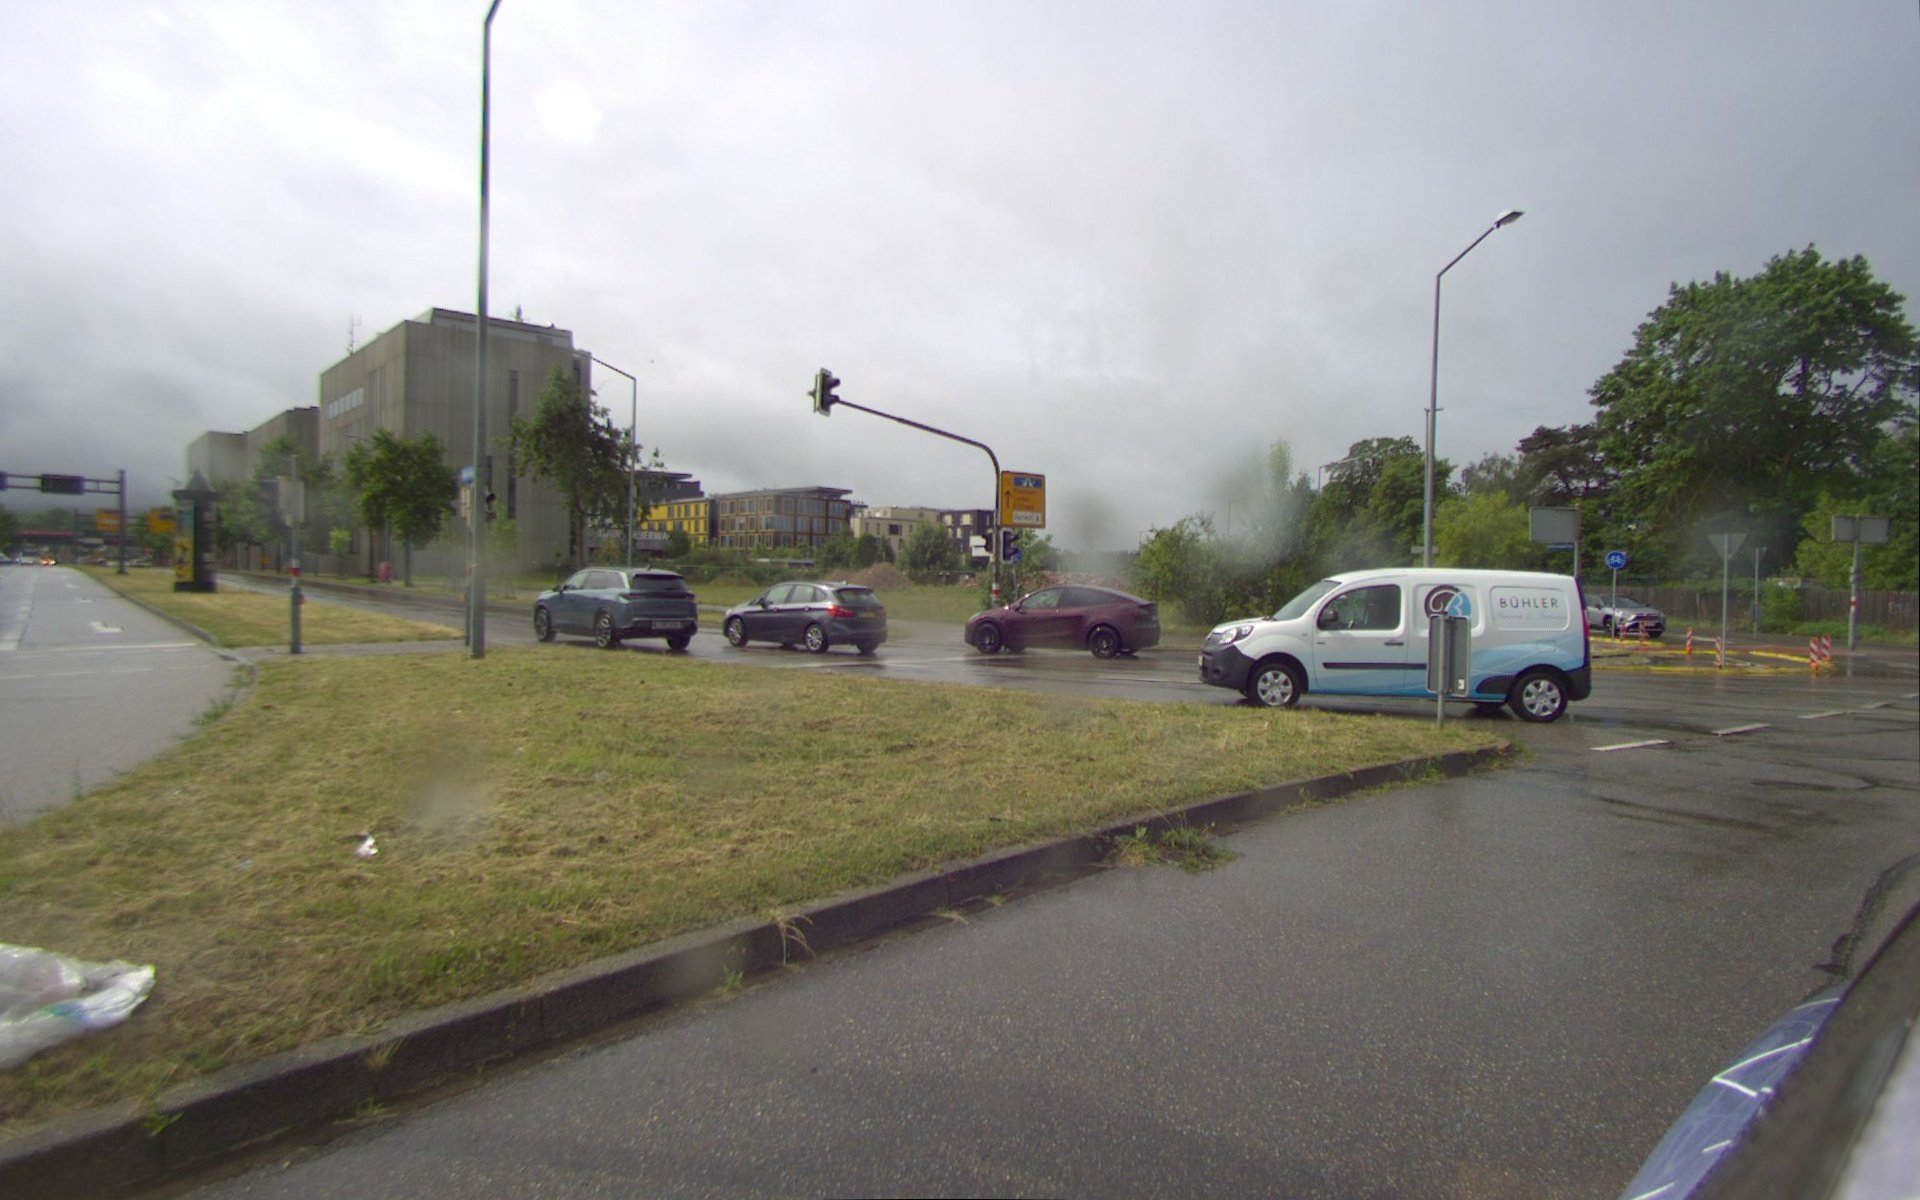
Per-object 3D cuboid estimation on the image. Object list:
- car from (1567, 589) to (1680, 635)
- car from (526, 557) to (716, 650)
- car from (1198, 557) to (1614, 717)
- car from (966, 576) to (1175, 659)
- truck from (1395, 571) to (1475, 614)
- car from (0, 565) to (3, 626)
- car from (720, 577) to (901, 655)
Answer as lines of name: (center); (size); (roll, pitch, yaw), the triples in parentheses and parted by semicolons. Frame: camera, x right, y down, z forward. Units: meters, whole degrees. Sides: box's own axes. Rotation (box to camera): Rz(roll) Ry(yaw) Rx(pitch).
car: (26.243, 0.421, 40.209); (1.843, 1.684, 4.477); (0, 1, 6)
car: (-7.333, 0.027, 21.697); (4.307, 1.779, 2.011); (2, 1, 43)
car: (5.433, 0.403, 12.913); (4.475, 1.785, 1.863); (1, 0, 8)
car: (2.540, 0.343, 23.470); (4.456, 1.678, 1.858); (2, 1, 27)
truck: (32.753, -0.568, 70.076); (2.416, 2.760, 6.944); (1, 1, 2)
car: (-24.887, -0.076, 24.888); (1.836, 1.555, 4.481); (1, 2, -42)
car: (-3.396, 0.295, 22.718); (3.980, 1.547, 1.785); (2, 1, 38)
